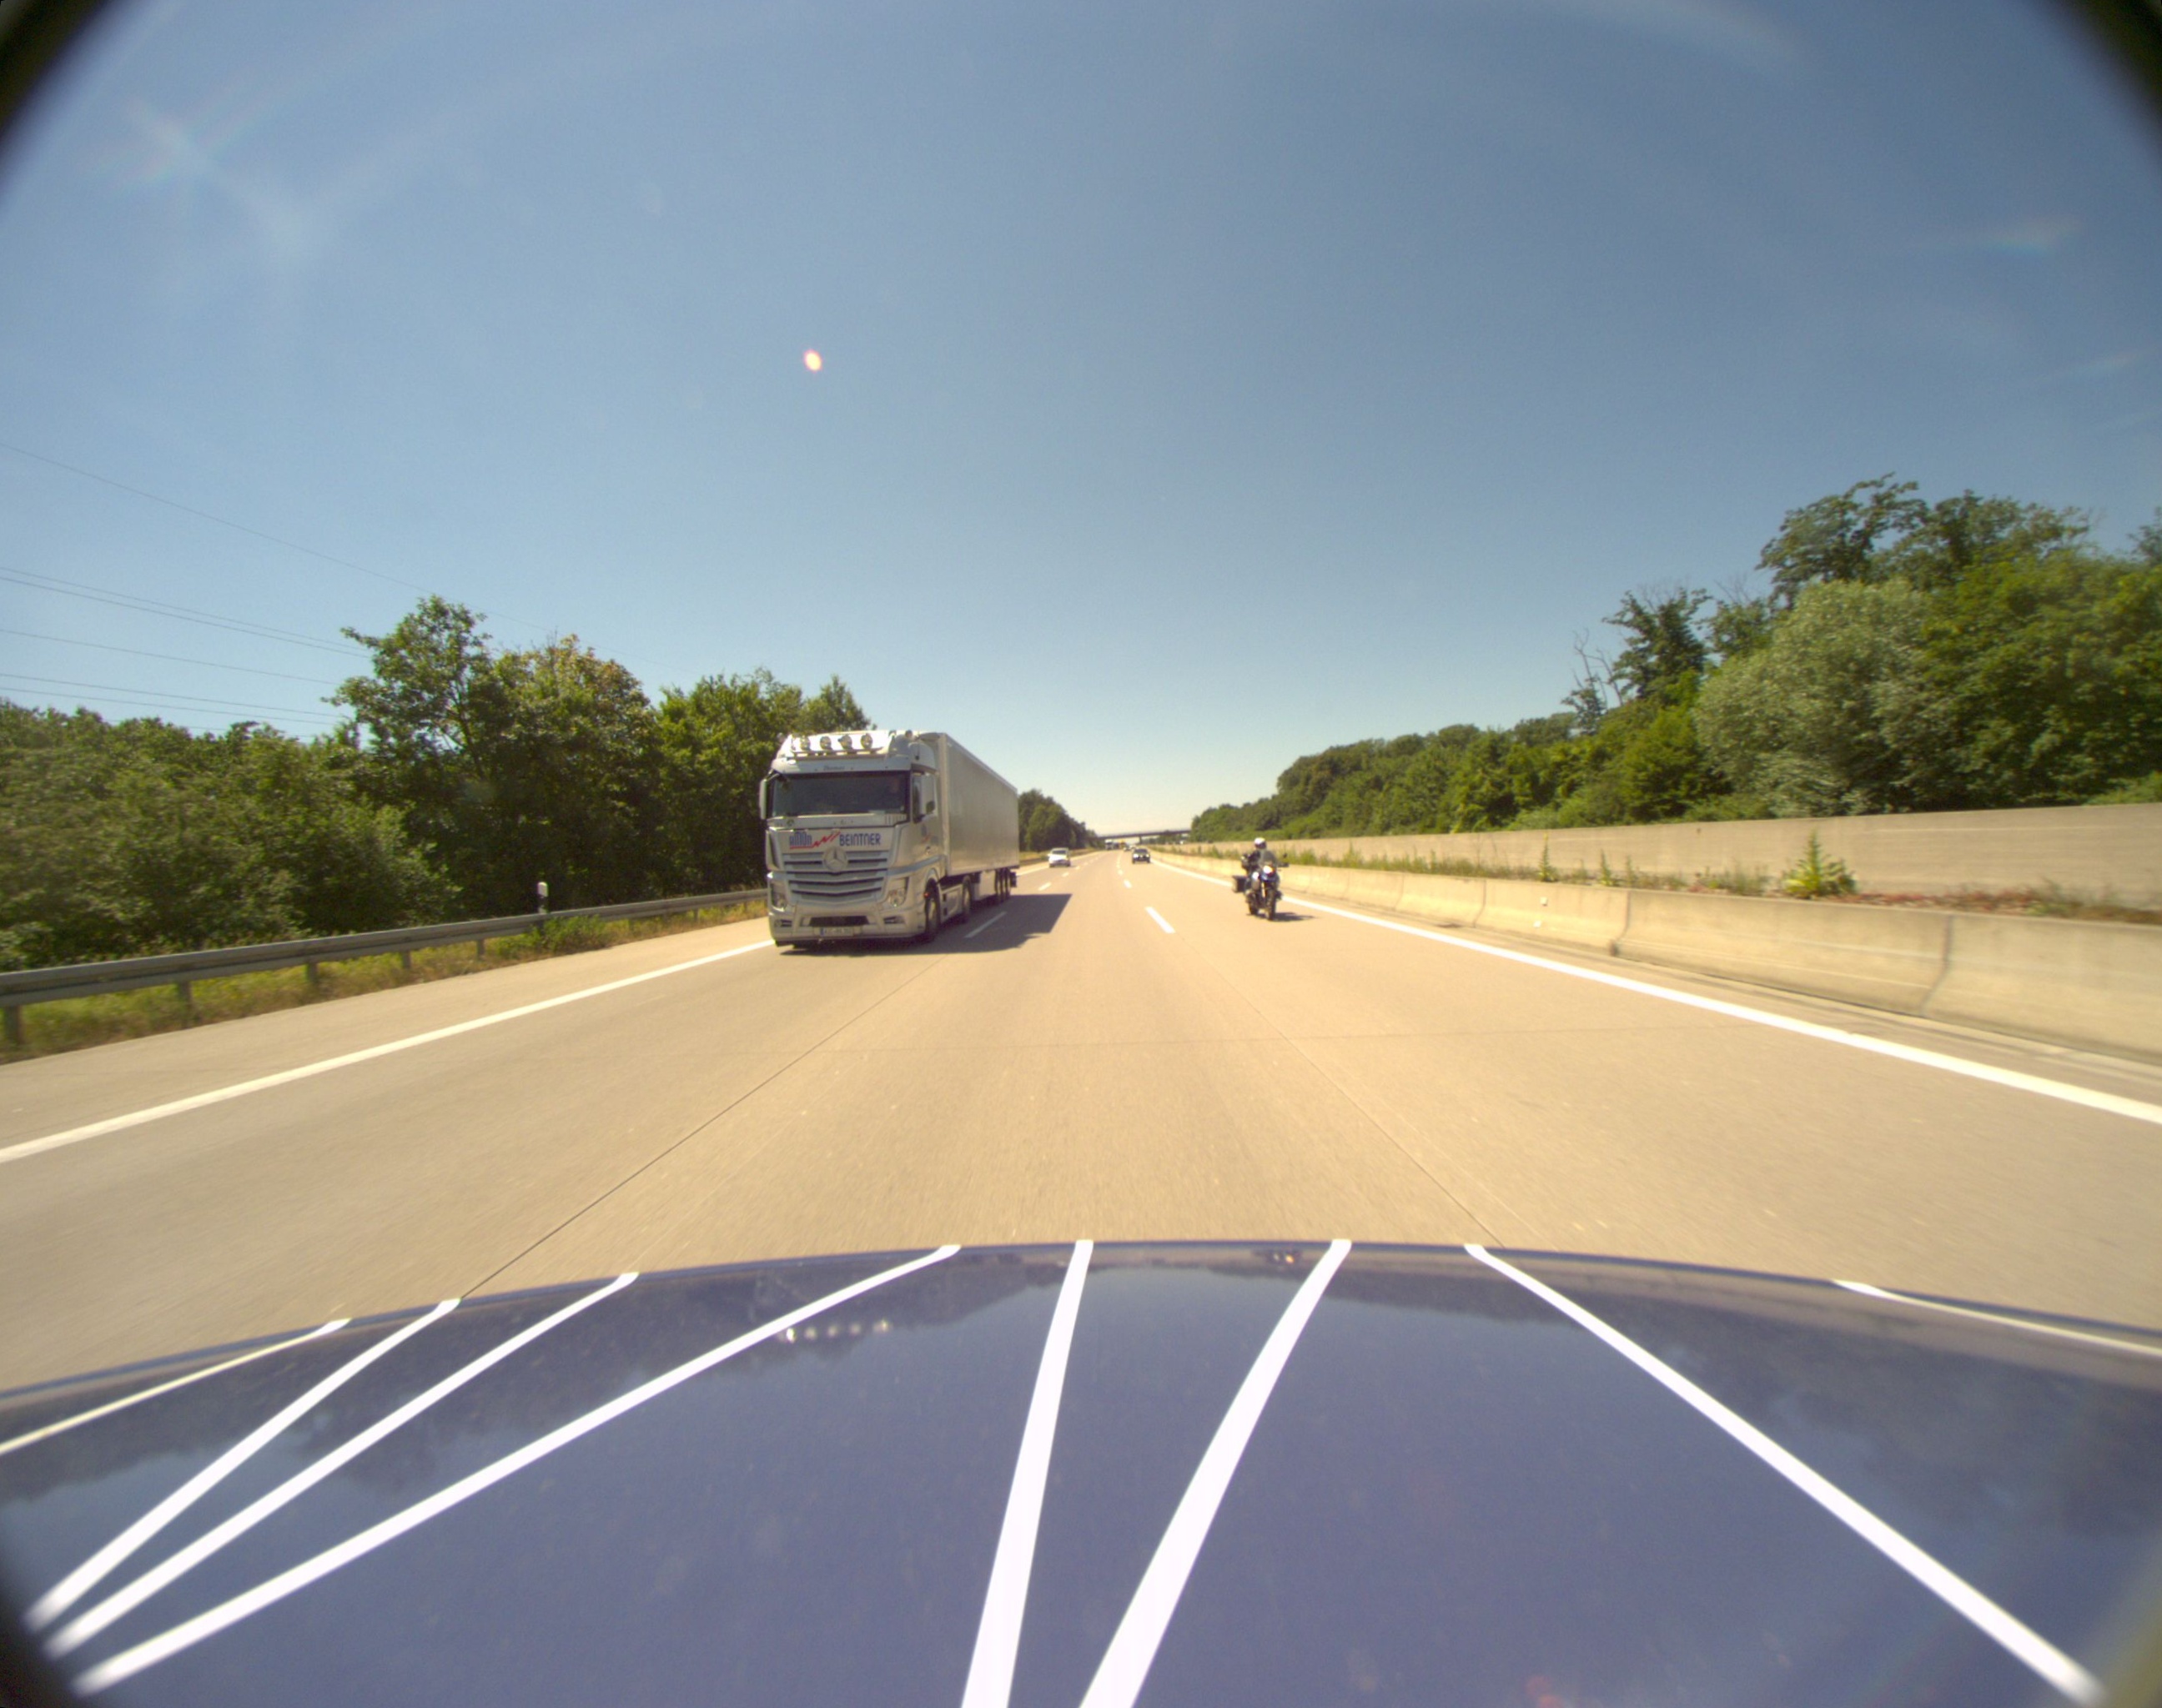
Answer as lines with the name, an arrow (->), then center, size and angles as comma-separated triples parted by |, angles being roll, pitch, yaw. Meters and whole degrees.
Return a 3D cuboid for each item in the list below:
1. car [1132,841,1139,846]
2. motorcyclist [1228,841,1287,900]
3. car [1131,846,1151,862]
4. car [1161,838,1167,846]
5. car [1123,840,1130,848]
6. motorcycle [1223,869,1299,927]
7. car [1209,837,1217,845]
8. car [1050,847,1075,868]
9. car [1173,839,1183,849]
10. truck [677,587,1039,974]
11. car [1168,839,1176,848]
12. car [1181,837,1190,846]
car -> 15.622, -2.982, 216.329 | 1.580, 1.565, 3.674 | -2, 1, -1
motorcyclist -> 3.759, 0.352, 16.232 | 1.027, 1.202, 0.911 | -1, 0, 0
car -> 6.229, -0.040, 78.884 | 1.998, 1.518, 4.001 | -2, 1, 4
car -> 23.924, -3.470, 219.070 | 1.639, 2.002, 3.653 | -2, 1, 2
car -> 10.682, -2.348, 177.977 | 1.586, 1.527, 3.612 | -5, 0, 4
motorcycle -> 3.776, 0.888, 16.173 | 1.024, 1.042, 2.412 | -2, 0, 0
car -> 30.040, -3.004, 172.998 | 1.435, 1.705, 3.273 | -2, 1, 2
car -> -1.841, 0.321, 77.806 | 1.883, 1.878, 5.281 | -5, 0, 4
car -> 19.366, -2.029, 151.621 | 1.435, 2.002, 4.787 | -2, 1, 2
truck -> -4.002, -1.168, 21.004 | 3.586, 5.753, 18.247 | -5, 0, 2
car -> 21.231, -2.382, 177.315 | 1.435, 2.002, 3.520 | -2, 1, 2
car -> 25.709, -3.059, 186.778 | 1.638, 2.002, 4.103 | -2, 1, 2
